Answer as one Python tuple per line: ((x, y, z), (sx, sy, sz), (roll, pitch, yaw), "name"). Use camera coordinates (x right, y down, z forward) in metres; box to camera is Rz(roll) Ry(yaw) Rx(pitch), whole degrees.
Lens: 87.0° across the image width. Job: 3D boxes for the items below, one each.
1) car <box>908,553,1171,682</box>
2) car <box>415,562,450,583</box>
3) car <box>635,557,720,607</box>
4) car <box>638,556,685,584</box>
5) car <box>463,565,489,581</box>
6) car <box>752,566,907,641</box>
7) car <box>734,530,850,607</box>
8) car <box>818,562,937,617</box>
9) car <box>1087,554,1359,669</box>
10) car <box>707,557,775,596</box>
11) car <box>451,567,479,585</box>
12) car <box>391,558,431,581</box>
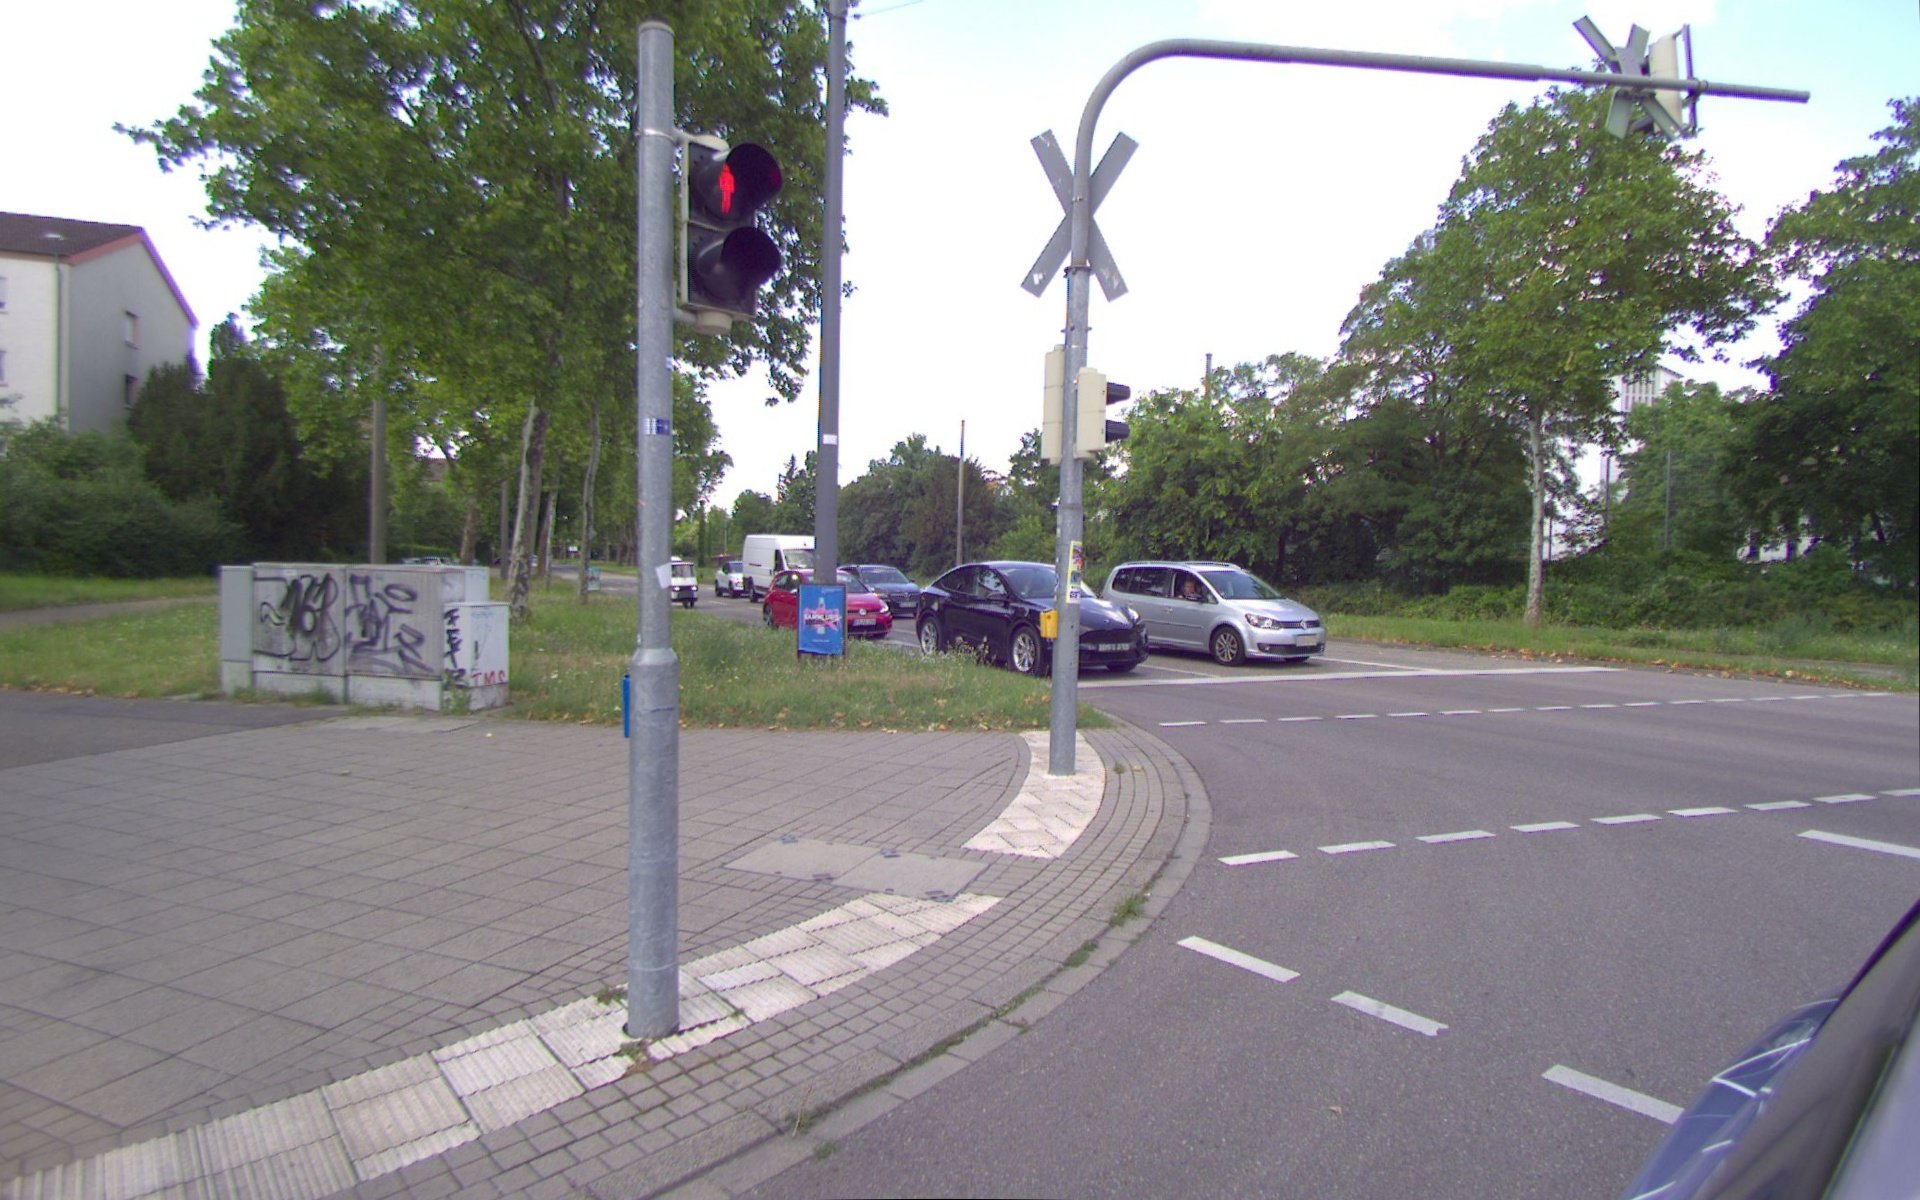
((1.035, 0.117, 15.732), (1.893, 1.672, 4.587), (-2, 3, -29), "car")
((-43.222, -2.236, 83.018), (1.739, 1.616, 3.664), (0, 0, -15), "car")
((-10.002, -0.694, 35.588), (1.766, 1.589, 4.508), (-2, 3, -30), "car")
((-18.202, -1.849, 61.623), (1.730, 1.667, 4.349), (0, 2, -30), "car")
((-50.320, -2.782, 105.270), (1.739, 1.616, 3.664), (0, 0, -15), "car")
((-2.991, -0.018, 22.366), (1.766, 1.408, 4.508), (-2, 3, -30), "car")
((-6.247, -1.206, 36.901), (2.184, 2.560, 5.941), (-2, 3, -30), "car")
((-2.483, -0.368, 29.339), (1.730, 1.391, 4.349), (-2, 3, -30), "car")
((4.307, 0.064, 17.335), (1.893, 1.672, 4.508), (-2, 3, -30), "car")
((-9.620, -1.072, 44.255), (1.807, 1.637, 4.162), (-1, 3, -29), "car")
((-47.798, -2.291, 97.769), (1.739, 1.616, 3.664), (0, 0, -15), "car")
((-40.315, -2.204, 74.417), (1.739, 1.616, 3.664), (0, 0, -15), "car")
